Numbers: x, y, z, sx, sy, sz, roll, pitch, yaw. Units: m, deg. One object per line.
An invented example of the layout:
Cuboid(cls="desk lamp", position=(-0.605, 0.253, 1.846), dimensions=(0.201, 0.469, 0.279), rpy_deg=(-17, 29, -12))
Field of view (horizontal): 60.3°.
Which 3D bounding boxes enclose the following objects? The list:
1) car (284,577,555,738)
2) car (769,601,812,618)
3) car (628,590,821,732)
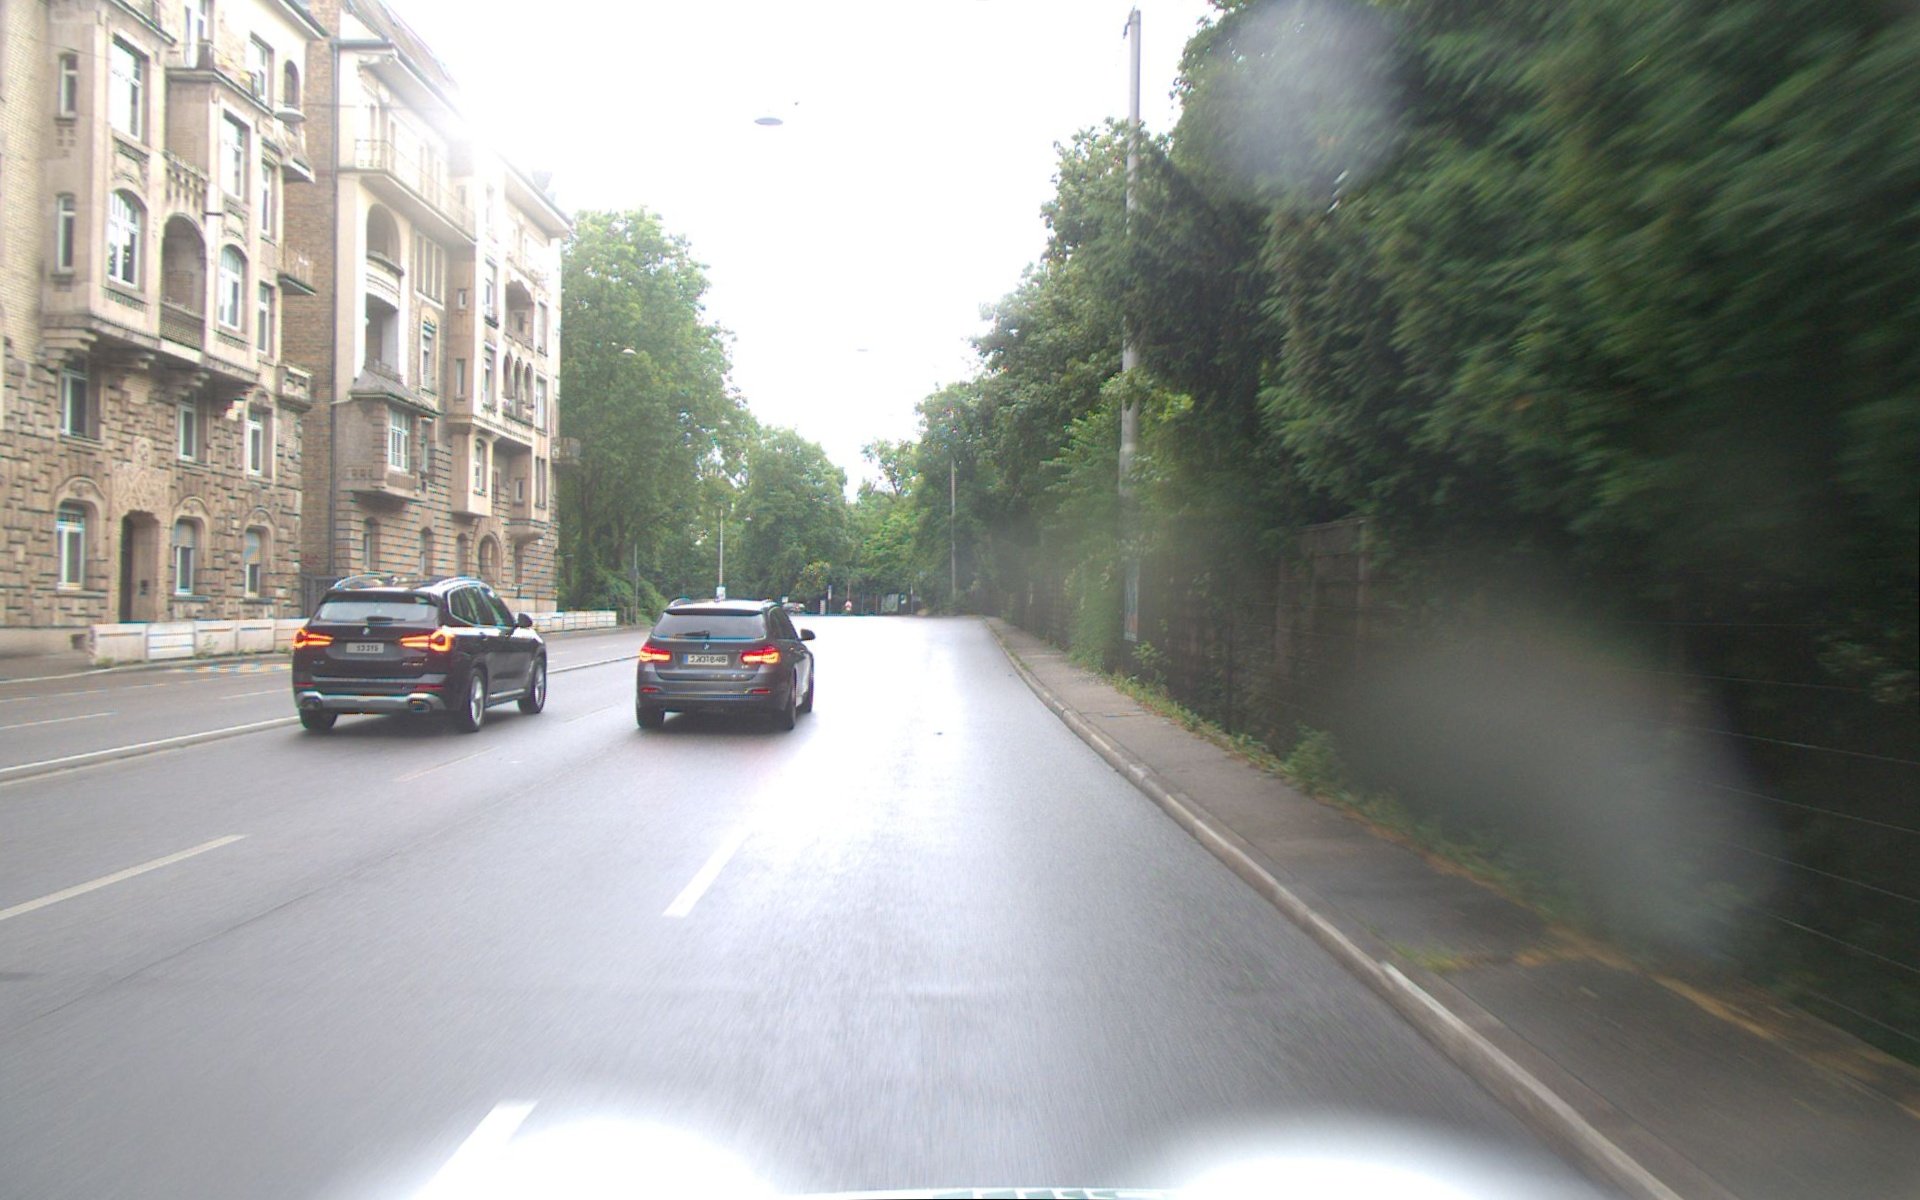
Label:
Cuboid(cls="car", position=(-6.041, 0.592, 19.059), dimensions=(1.722, 1.613, 4.411), rpy_deg=(1, 0, -1))
Cuboid(cls="car", position=(-16.453, 0.913, 160.400), dimensions=(4.295, 1.452, 1.682), rpy_deg=(0, -3, 43))
Cuboid(cls="car", position=(-2.708, 0.657, 19.941), dimensions=(1.722, 1.457, 4.411), rpy_deg=(2, 0, -1))
